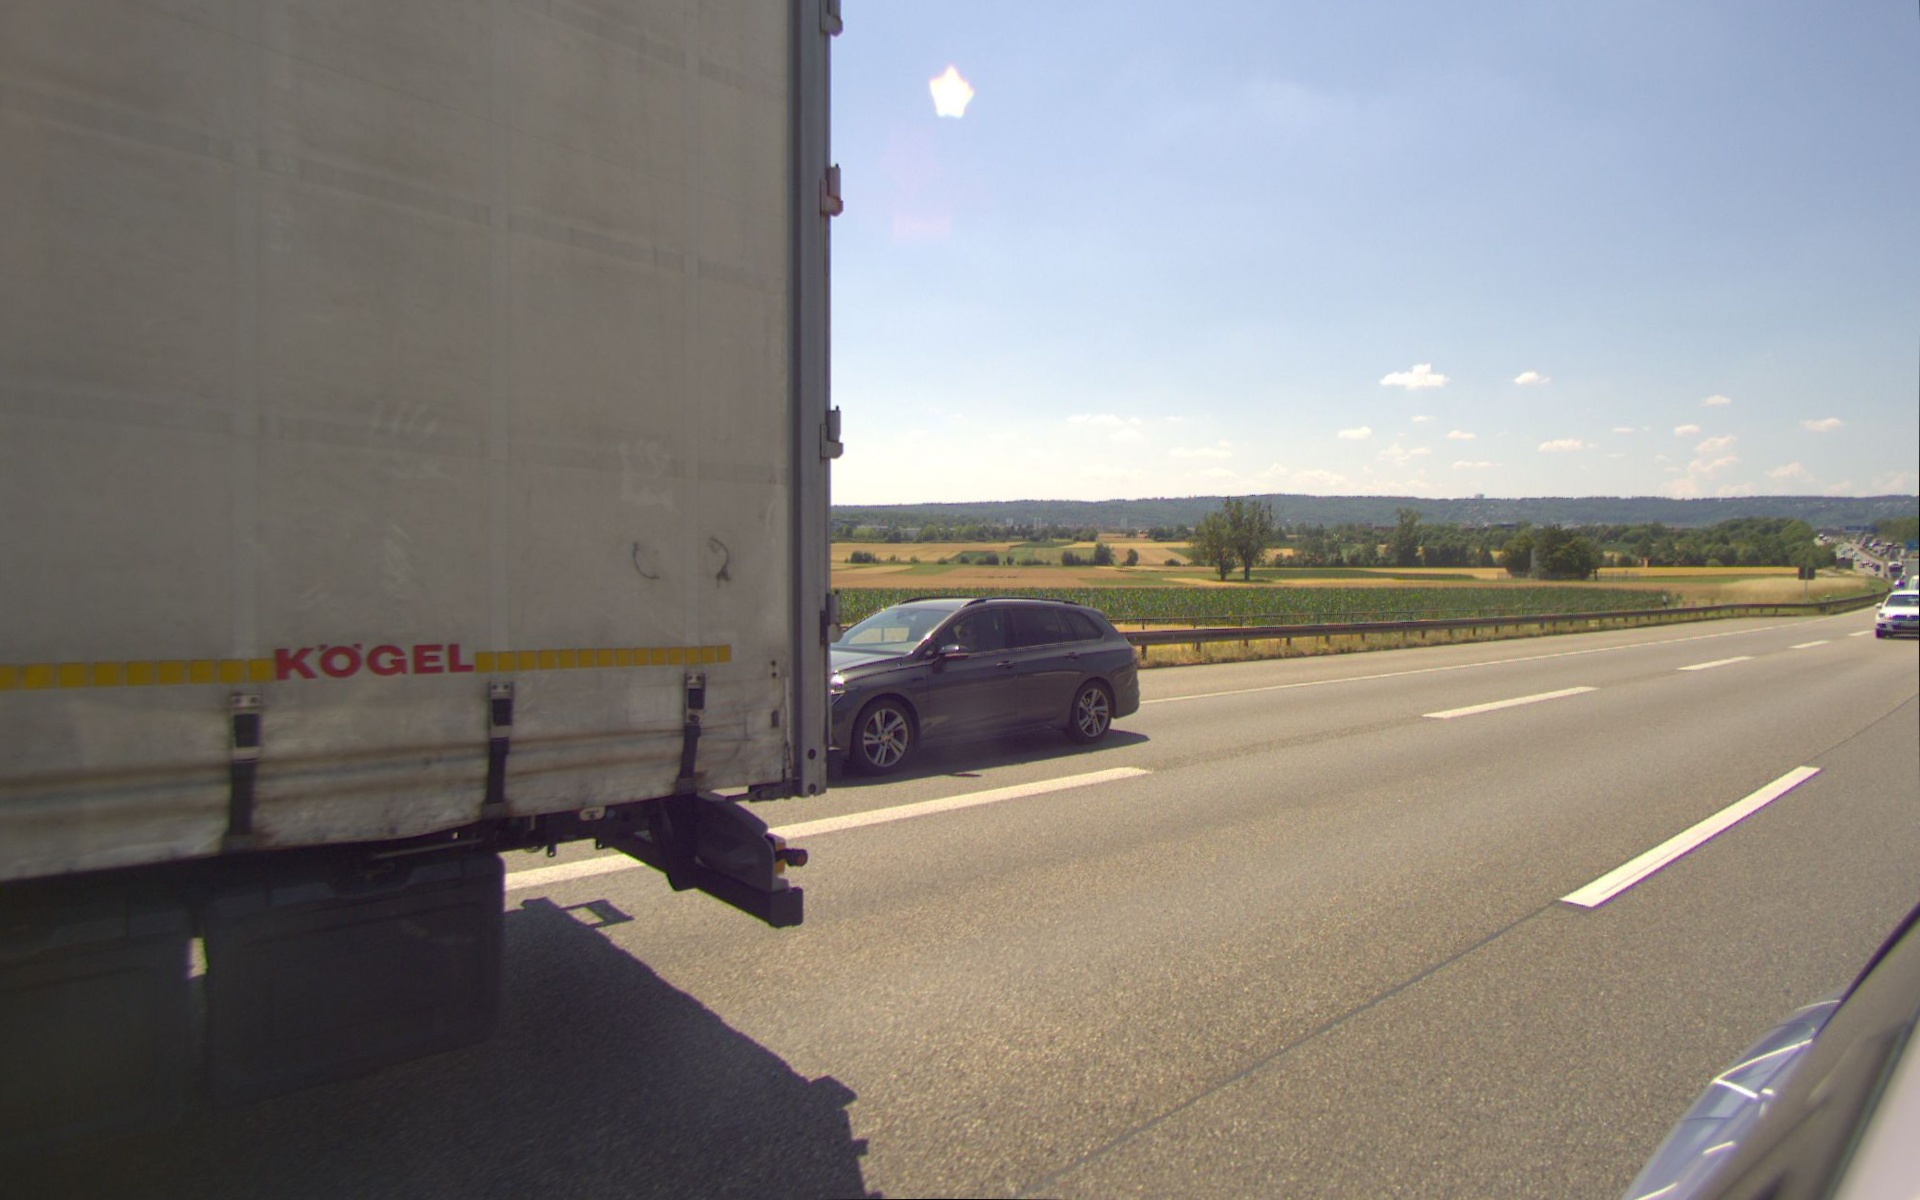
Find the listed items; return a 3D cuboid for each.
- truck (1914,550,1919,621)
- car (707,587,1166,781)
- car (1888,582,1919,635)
[{"bbox_3d":[44.847,-0.726,45.772,2.439,3.066,6.809,0,1,43],"label":"truck"},{"bbox_3d":[-0.041,0.615,9.921,4.459,1.489,1.763,-1,1,-42],"label":"car"},{"bbox_3d":[32.681,0.255,34.176,1.833,1.665,4.106,0,1,45],"label":"car"}]
